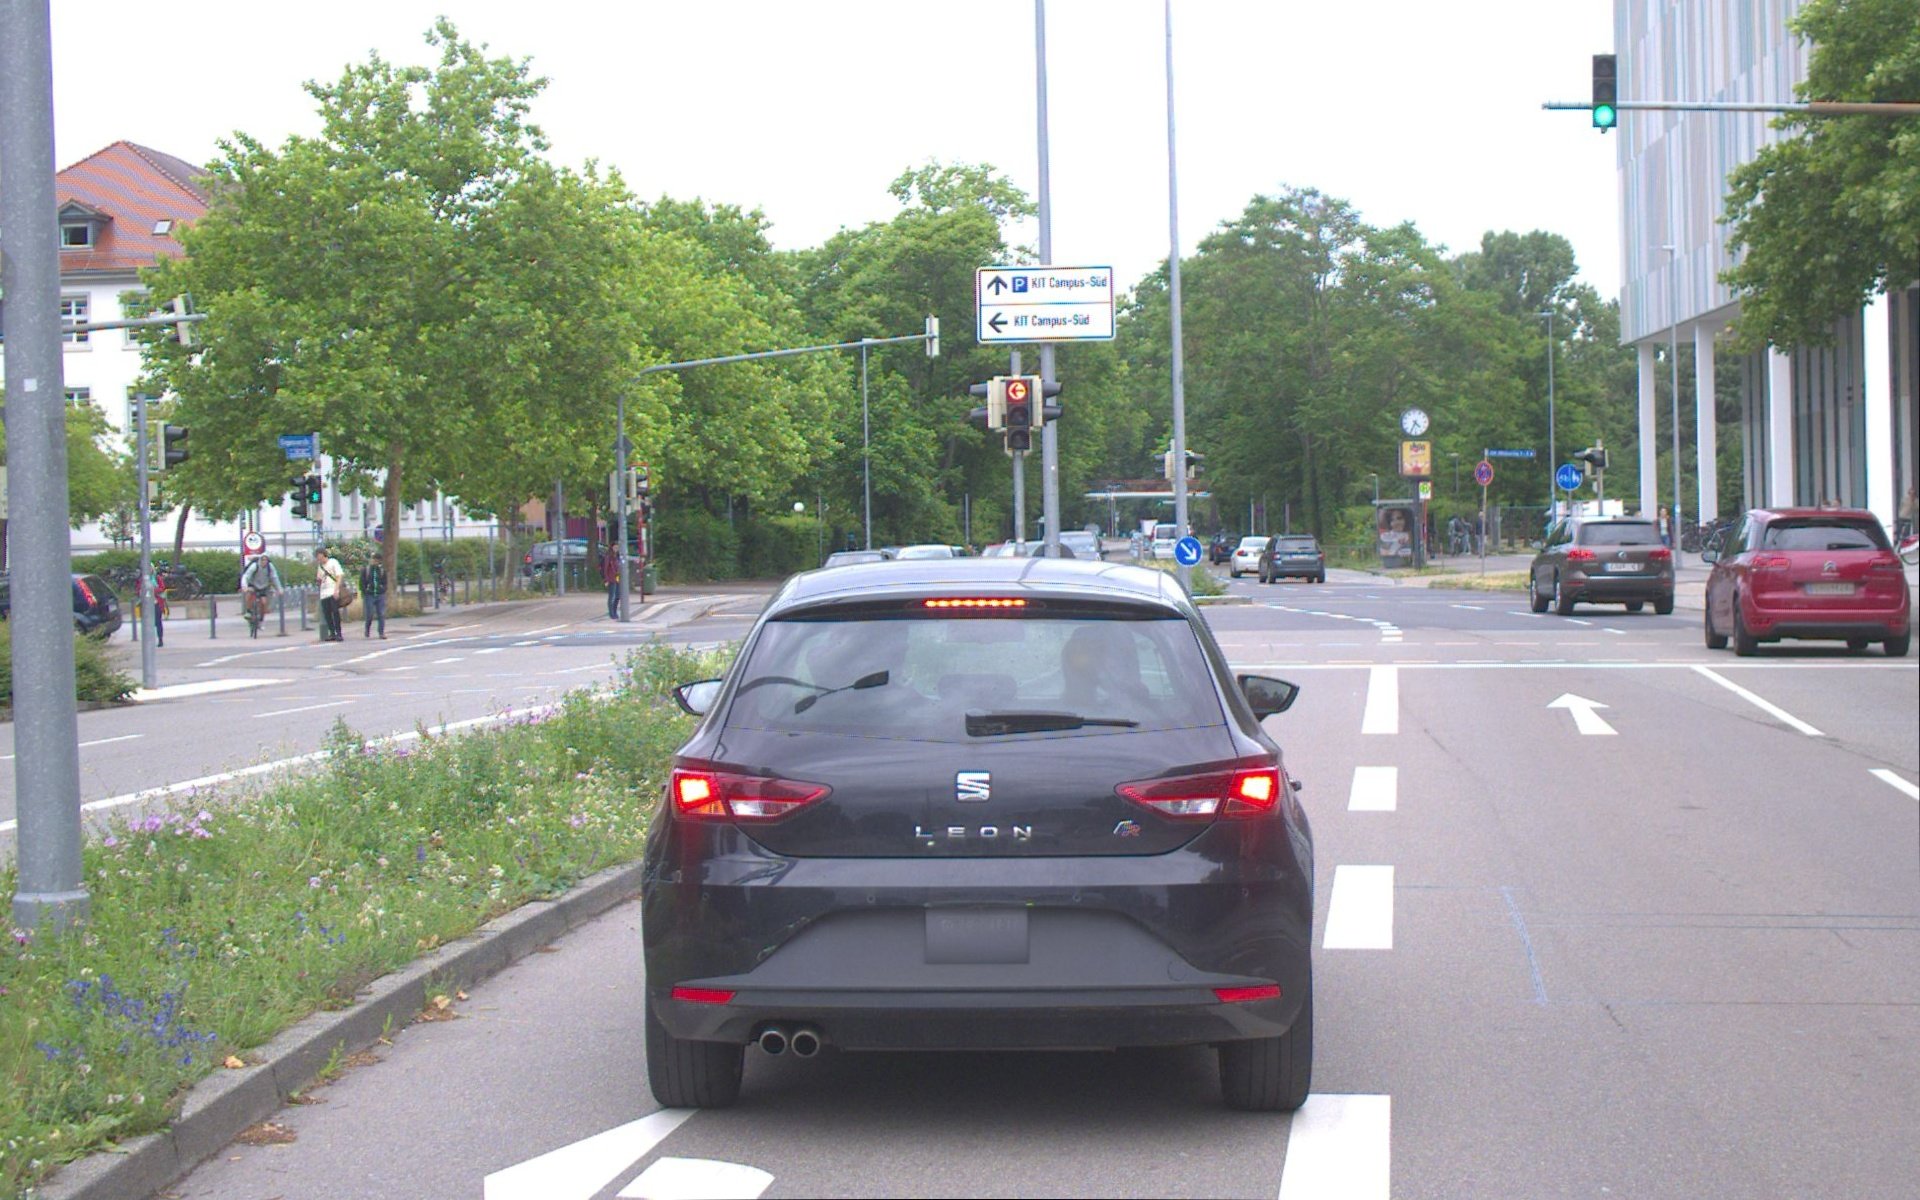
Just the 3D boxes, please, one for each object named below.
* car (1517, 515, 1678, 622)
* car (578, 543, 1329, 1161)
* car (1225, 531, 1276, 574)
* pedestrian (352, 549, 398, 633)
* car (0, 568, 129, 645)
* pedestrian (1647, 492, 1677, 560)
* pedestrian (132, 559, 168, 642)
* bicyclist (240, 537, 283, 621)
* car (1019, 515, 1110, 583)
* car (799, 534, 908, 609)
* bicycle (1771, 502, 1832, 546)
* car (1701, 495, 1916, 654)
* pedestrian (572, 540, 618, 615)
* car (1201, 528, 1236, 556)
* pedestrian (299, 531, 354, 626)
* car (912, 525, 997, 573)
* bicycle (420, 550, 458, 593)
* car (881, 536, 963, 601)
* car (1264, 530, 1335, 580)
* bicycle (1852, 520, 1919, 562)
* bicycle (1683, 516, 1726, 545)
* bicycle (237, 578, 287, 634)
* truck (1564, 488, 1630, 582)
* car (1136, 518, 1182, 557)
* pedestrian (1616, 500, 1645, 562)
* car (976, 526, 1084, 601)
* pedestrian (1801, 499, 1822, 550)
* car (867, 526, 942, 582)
[{"bbox_3d":[10.862,-0.564,58.812,1.914,1.658,4.115,-3,2,0],"label":"car"},{"bbox_3d":[0.174,0.553,9.963,1.753,1.427,3.768,0,1,7],"label":"car"},{"bbox_3d":[10.085,-1.650,119.596,1.616,1.349,4.000,-3,2,4],"label":"car"},{"bbox_3d":[-11.229,-0.172,65.965,0.789,1.553,0.699,-1,-2,-13],"label":"pedestrian"},{"bbox_3d":[-17.944,0.125,65.726,3.655,1.219,1.564,-1,8,1],"label":"car"},{"bbox_3d":[18.452,-1.949,90.401,0.687,1.775,0.677,-1,2,7],"label":"pedestrian"},{"bbox_3d":[-15.426,0.007,65.438,0.570,1.521,0.849,-2,-3,-16],"label":"pedestrian"},{"bbox_3d":[-13.618,-0.417,67.015,0.666,1.630,0.962,0,0,-22],"label":"bicyclist"},{"bbox_3d":[2.815,-1.362,91.345,1.921,1.659,4.398,-3,1,7],"label":"car"},{"bbox_3d":[-2.153,-0.604,70.460,1.608,1.376,3.808,-3,2,7],"label":"car"},{"bbox_3d":[25.094,-2.264,102.512,1.772,1.207,0.570,-4,2,-26],"label":"bicycle"},{"bbox_3d":[9.200,-0.323,37.541,1.950,1.618,3.748,0,2,9],"label":"car"},{"bbox_3d":[-7.934,-0.497,74.765,0.874,1.580,0.543,-3,1,1],"label":"pedestrian"},{"bbox_3d":[11.815,-2.666,157.084,1.505,1.189,3.163,-3,2,4],"label":"car"},{"bbox_3d":[-12.057,-0.405,65.418,0.839,1.734,0.831,-1,-3,-21],"label":"pedestrian"},{"bbox_3d":[-0.177,-1.866,125.698,1.760,1.582,3.996,-2,2,20],"label":"car"},{"bbox_3d":[-13.543,-0.739,89.431,0.607,1.056,2.044,-3,2,1],"label":"bicycle"},{"bbox_3d":[-0.901,-0.787,83.737,1.705,1.426,4.227,-3,2,2],"label":"car"},{"bbox_3d":[10.146,-1.357,102.927,1.899,1.349,3.882,-3,2,4],"label":"car"},{"bbox_3d":[22.105,-1.404,81.203,1.885,0.895,0.697,-3,1,-13],"label":"bicycle"},{"bbox_3d":[25.267,-2.355,116.722,1.388,0.938,0.487,-2,2,14],"label":"bicycle"},{"bbox_3d":[-13.599,0.111,66.947,0.666,1.058,1.620,0,1,-22],"label":"bicycle"},{"bbox_3d":[15.759,-1.628,85.146,1.318,2.235,3.401,-3,2,7],"label":"truck"},{"bbox_3d":[8.372,-2.647,144.946,1.695,1.498,4.010,-3,2,1],"label":"car"},{"bbox_3d":[17.620,-1.820,90.334,0.687,1.634,0.632,0,2,7],"label":"pedestrian"},{"bbox_3d":[1.531,-0.783,73.176,1.764,1.455,4.790,-3,0,7],"label":"car"},{"bbox_3d":[23.212,-2.055,93.685,0.472,1.357,0.445,-2,1,17],"label":"pedestrian"},{"bbox_3d":[-1.832,-1.563,115.339,1.907,1.711,3.999,-3,2,7],"label":"car"}]
